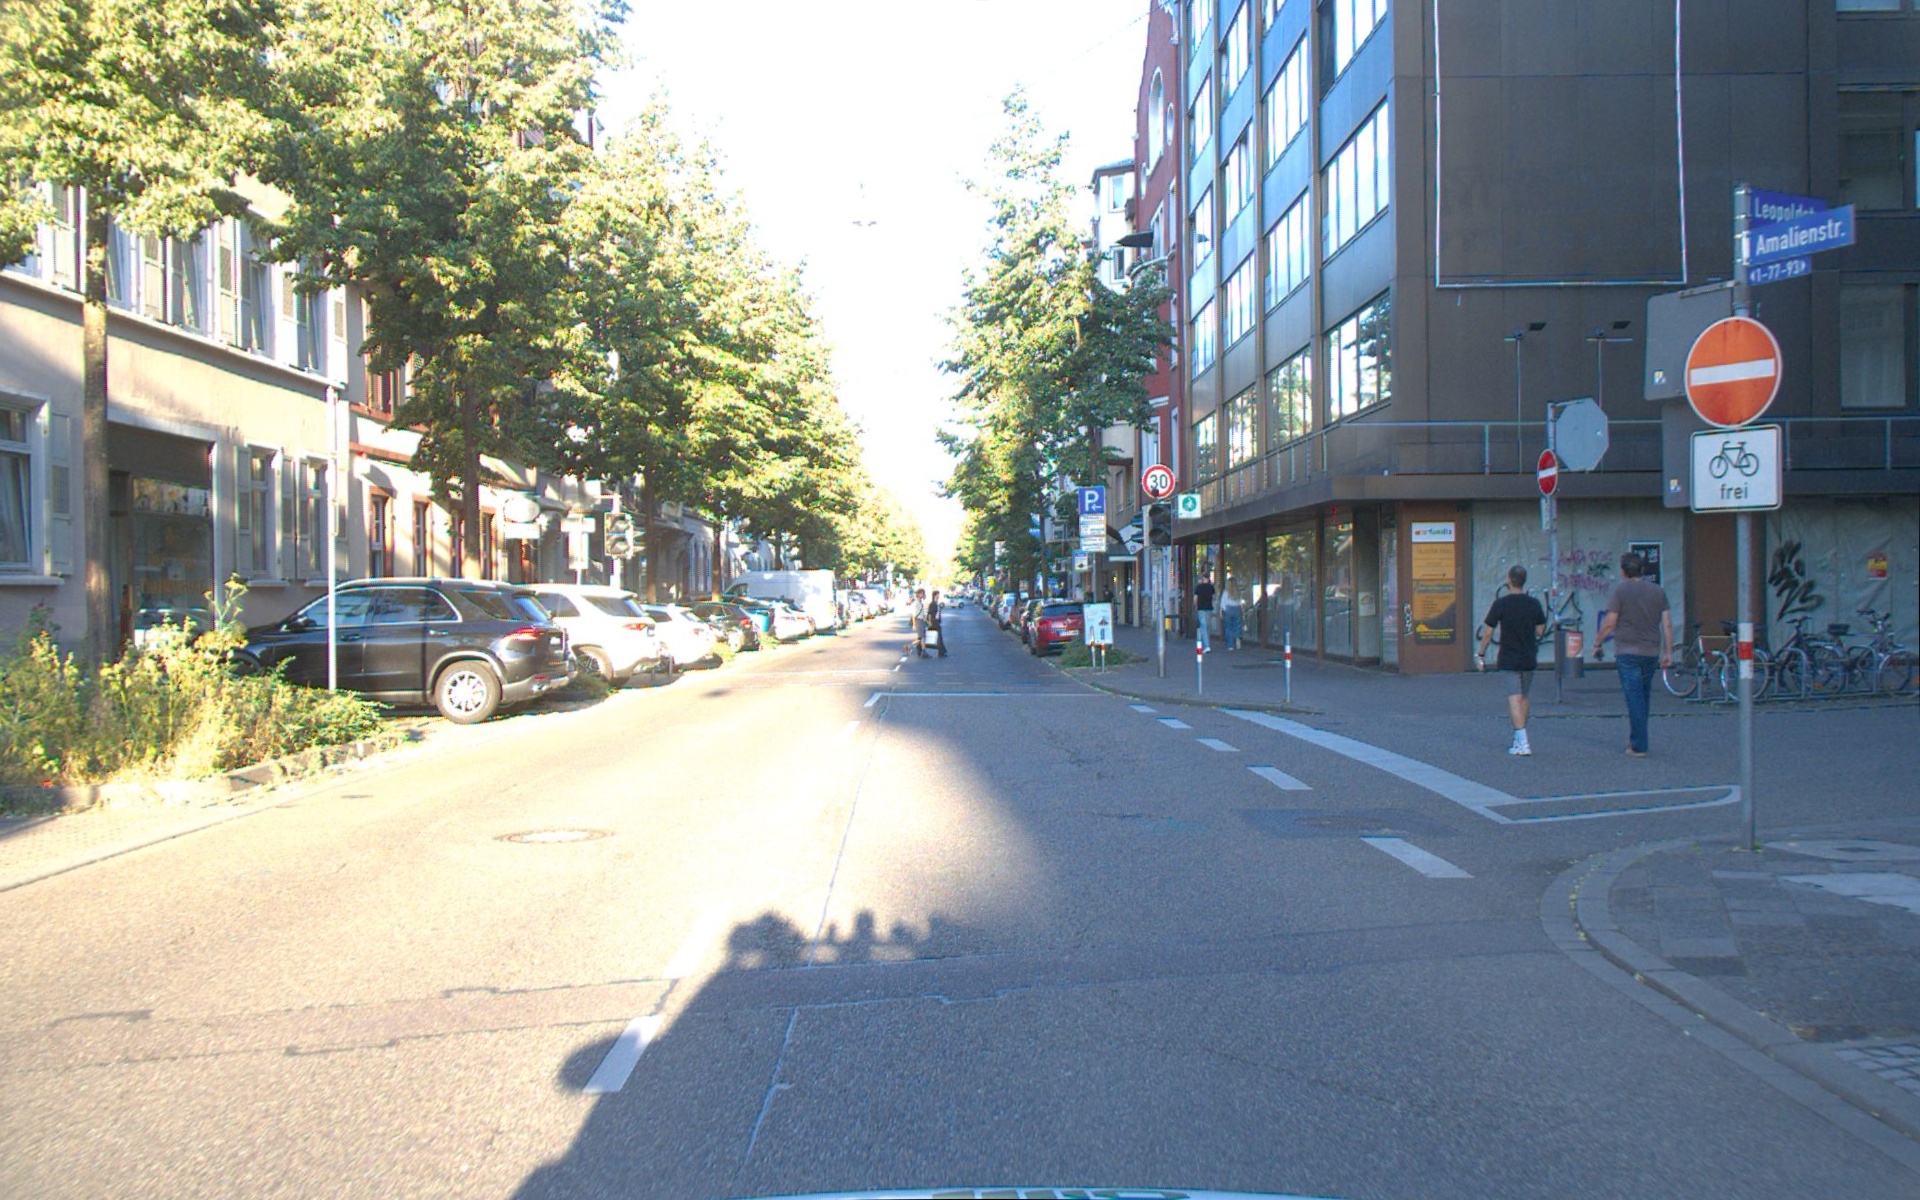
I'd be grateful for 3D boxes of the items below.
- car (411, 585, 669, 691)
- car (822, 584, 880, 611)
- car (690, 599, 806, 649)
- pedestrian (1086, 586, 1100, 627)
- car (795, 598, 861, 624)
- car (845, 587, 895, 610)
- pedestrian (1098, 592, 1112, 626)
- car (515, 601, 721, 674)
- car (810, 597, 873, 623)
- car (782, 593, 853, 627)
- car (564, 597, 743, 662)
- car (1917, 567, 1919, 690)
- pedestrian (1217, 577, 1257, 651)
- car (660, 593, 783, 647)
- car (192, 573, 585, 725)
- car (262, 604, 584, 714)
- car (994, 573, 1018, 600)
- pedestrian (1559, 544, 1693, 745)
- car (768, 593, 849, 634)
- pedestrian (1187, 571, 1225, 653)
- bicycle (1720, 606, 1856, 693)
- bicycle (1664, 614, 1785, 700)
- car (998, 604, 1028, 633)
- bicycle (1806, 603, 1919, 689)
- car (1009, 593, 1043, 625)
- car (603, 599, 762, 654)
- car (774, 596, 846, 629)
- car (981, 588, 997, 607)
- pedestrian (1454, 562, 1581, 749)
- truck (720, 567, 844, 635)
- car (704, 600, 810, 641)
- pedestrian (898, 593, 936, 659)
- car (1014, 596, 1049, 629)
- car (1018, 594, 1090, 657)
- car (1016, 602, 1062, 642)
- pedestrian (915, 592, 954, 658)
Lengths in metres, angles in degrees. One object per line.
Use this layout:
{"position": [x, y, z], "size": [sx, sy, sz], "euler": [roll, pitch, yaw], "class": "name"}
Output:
{"position": [-7.077, 0.612, 28.153], "size": [3.908, 1.738, 1.833], "euler": [0, 0, -1], "class": "car"}
{"position": [-7.092, -0.194, 108.161], "size": [3.663, 1.738, 2.000], "euler": [0, 0, -1], "class": "car"}
{"position": [-7.178, 0.806, 56.300], "size": [3.663, 1.624, 2.000], "euler": [-1, 0, 0], "class": "car"}
{"position": [5.353, 0.266, 66.709], "size": [0.523, 1.650, 0.534], "euler": [0, 0, 0], "class": "pedestrian"}
{"position": [-7.601, 0.645, 95.730], "size": [3.663, 1.475, 2.000], "euler": [-1, 0, -1], "class": "car"}
{"position": [-6.807, -0.102, 125.467], "size": [3.663, 1.738, 2.000], "euler": [0, 0, -1], "class": "car"}
{"position": [5.936, 0.369, 67.580], "size": [0.523, 1.384, 0.534], "euler": [0, 0, 0], "class": "pedestrian"}
{"position": [-7.419, 0.801, 36.227], "size": [4.090, 1.533, 2.000], "euler": [0, 0, -1], "class": "car"}
{"position": [-7.179, 0.616, 100.445], "size": [3.663, 1.519, 2.000], "euler": [-1, 0, -1], "class": "car"}
{"position": [-7.616, 0.519, 88.660], "size": [3.663, 1.738, 2.000], "euler": [-1, 0, -1], "class": "car"}
{"position": [-8.019, 0.754, 43.627], "size": [4.336, 1.627, 2.000], "euler": [-1, 0, -1], "class": "car"}
{"position": [14.768, 0.376, 21.551], "size": [4.184, 1.609, 1.984], "euler": [0, 1, -25], "class": "car"}
{"position": [6.593, 0.327, 39.346], "size": [0.750, 1.718, 0.786], "euler": [-2, 0, -3], "class": "pedestrian"}
{"position": [-7.675, 0.643, 53.449], "size": [3.663, 1.671, 2.000], "euler": [-1, 0, -1], "class": "car"}
{"position": [-7.258, 0.599, 21.376], "size": [4.358, 1.867, 2.033], "euler": [0, 0, -1], "class": "car"}
{"position": [-7.522, 0.805, 23.453], "size": [3.950, 1.469, 1.831], "euler": [0, 0, -1], "class": "car"}
{"position": [2.845, -0.824, 103.233], "size": [1.282, 1.628, 2.659], "euler": [0, -1, -3], "class": "car"}
{"position": [6.177, 0.393, 15.406], "size": [0.739, 1.798, 1.222], "euler": [0, 0, -1], "class": "pedestrian"}
{"position": [-7.119, 0.626, 78.092], "size": [3.663, 1.891, 2.000], "euler": [0, 0, -1], "class": "car"}
{"position": [5.831, 0.274, 39.211], "size": [0.700, 1.898, 0.679], "euler": [-2, 0, -3], "class": "pedestrian"}
{"position": [11.202, 0.652, 22.436], "size": [0.409, 1.055, 1.760], "euler": [-2, 3, -26], "class": "bicycle"}
{"position": [10.061, 0.728, 21.828], "size": [0.408, 1.048, 1.682], "euler": [-1, 1, -18], "class": "bicycle"}
{"position": [2.470, 0.853, 76.992], "size": [1.182, 1.323, 2.659], "euler": [0, -1, -3], "class": "car"}
{"position": [12.550, 0.615, 22.886], "size": [0.408, 1.113, 1.680], "euler": [0, 0, -21], "class": "bicycle"}
{"position": [2.770, 0.372, 69.888], "size": [1.182, 1.323, 2.659], "euler": [0, -1, -3], "class": "car"}
{"position": [-8.119, 0.768, 48.747], "size": [4.336, 1.529, 2.000], "euler": [-1, 0, -1], "class": "car"}
{"position": [-7.599, 0.621, 84.050], "size": [3.513, 1.623, 1.700], "euler": [-1, 0, -1], "class": "car"}
{"position": [2.647, -0.224, 149.499], "size": [1.282, 1.628, 2.659], "euler": [0, -1, -3], "class": "car"}
{"position": [5.166, 0.486, 15.392], "size": [0.739, 1.669, 1.259], "euler": [0, 0, -1], "class": "pedestrian"}
{"position": [-7.237, 0.043, 67.632], "size": [4.840, 2.661, 2.000], "euler": [-1, 0, -1], "class": "truck"}
{"position": [-7.494, 0.748, 61.246], "size": [3.663, 1.475, 2.000], "euler": [-1, 0, -1], "class": "car"}
{"position": [-1.123, 0.661, 42.952], "size": [0.710, 1.702, 0.700], "euler": [0, 0, -40], "class": "pedestrian"}
{"position": [2.857, 0.512, 66.757], "size": [1.182, 1.323, 2.659], "euler": [0, -1, -3], "class": "car"}
{"position": [2.525, 0.675, 45.008], "size": [1.545, 1.569, 3.395], "euler": [-3, 0, -3], "class": "car"}
{"position": [2.705, 0.738, 56.931], "size": [1.278, 1.315, 3.012], "euler": [1, -1, -3], "class": "car"}
{"position": [-0.670, 0.657, 43.896], "size": [0.717, 1.712, 0.746], "euler": [1, 0, -40], "class": "pedestrian"}
